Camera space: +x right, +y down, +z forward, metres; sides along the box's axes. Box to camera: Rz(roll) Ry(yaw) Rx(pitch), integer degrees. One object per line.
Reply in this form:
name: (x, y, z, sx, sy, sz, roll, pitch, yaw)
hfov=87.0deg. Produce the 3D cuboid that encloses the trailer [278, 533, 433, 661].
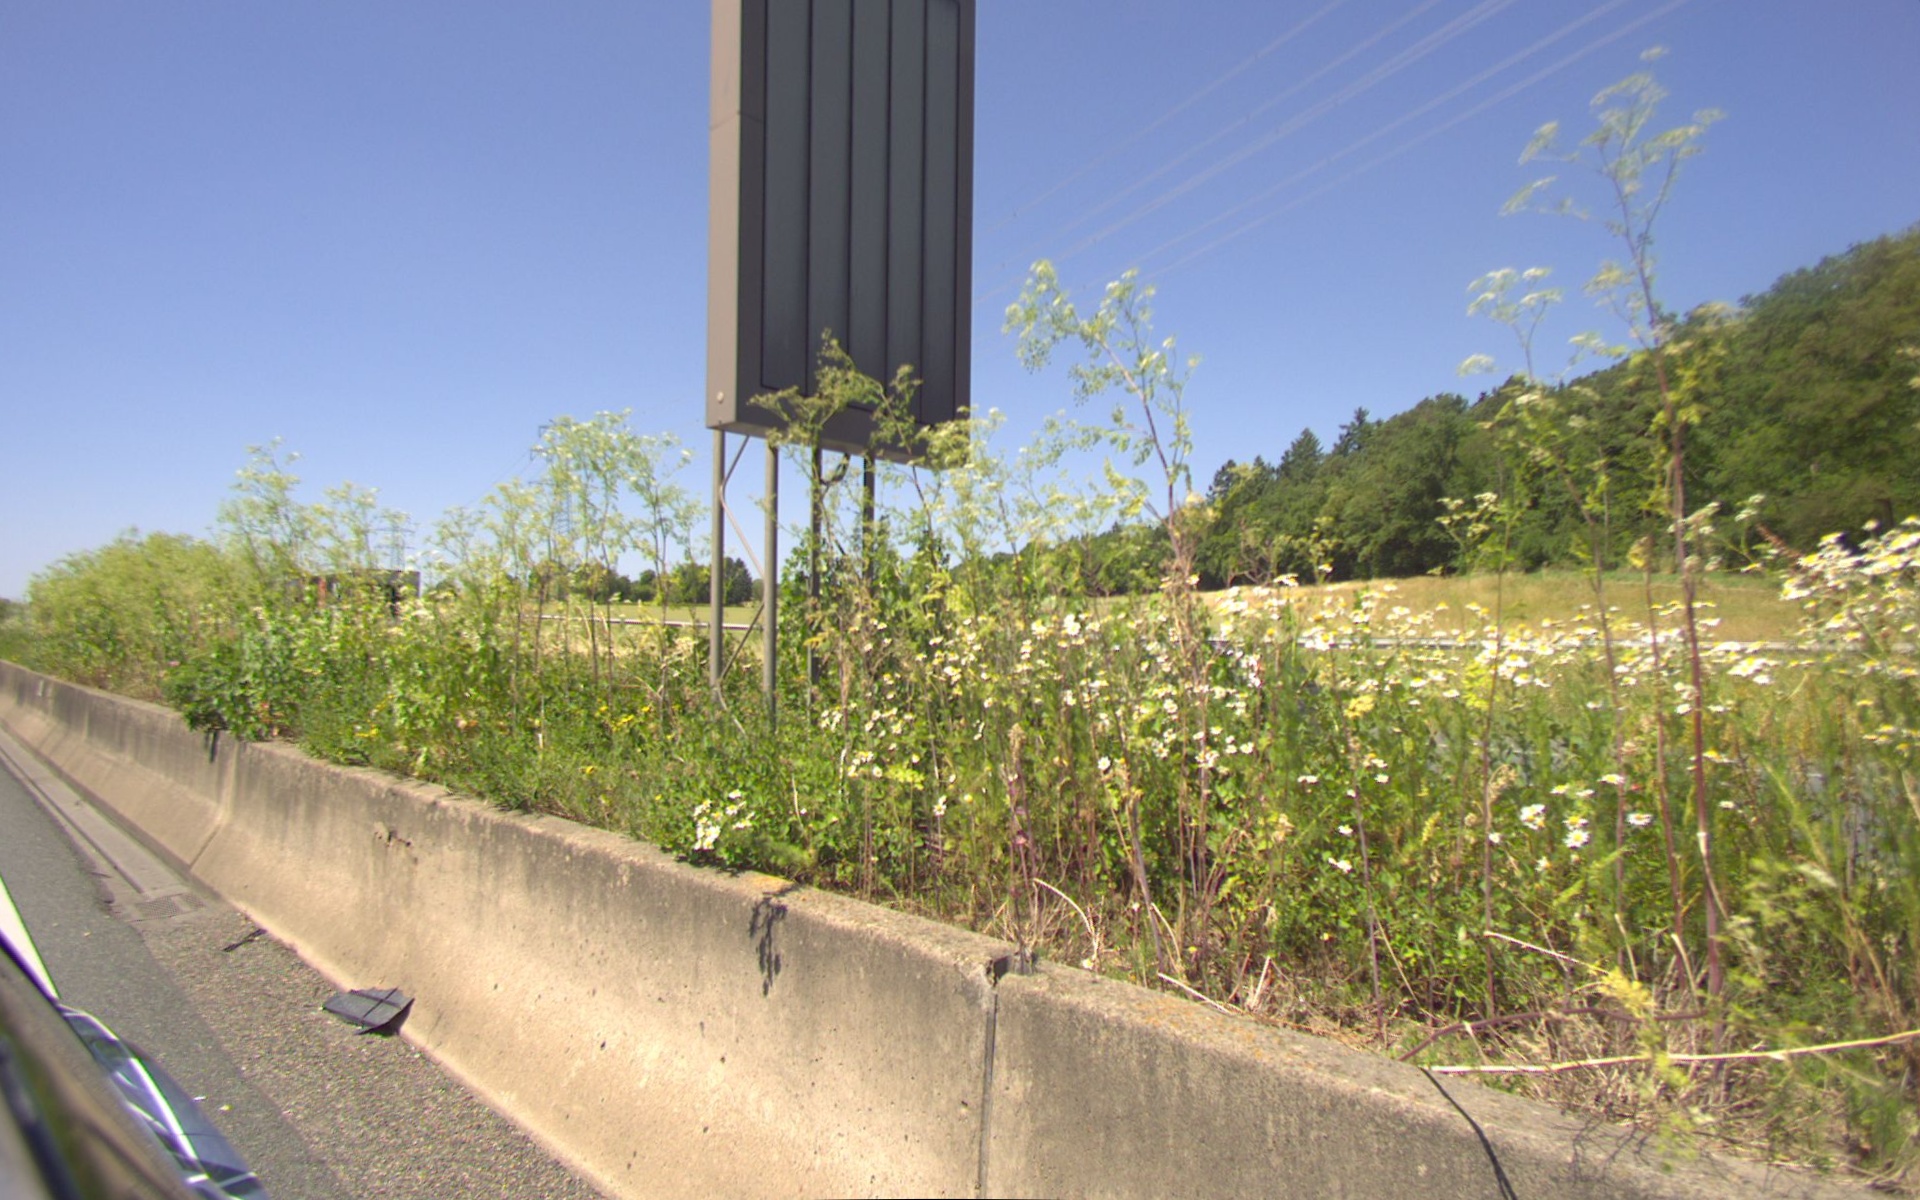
trailer: (-26.862, -0.055, 44.701, 9.590, 5.086, 3.286, -1, -1, 43)

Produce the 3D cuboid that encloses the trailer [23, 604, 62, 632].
trailer: (-128.790, 2.560, 142.049, 8.199, 3.790, 3.148, -1, -2, 42)

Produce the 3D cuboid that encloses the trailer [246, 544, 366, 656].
trailer: (-32.066, 0.038, 49.503, 6.703, 5.086, 3.287, -1, -1, 42)

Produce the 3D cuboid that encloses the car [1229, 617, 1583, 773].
car: (4.659, 0.886, 10.746, 3.125, 1.401, 1.566, -1, -1, 41)

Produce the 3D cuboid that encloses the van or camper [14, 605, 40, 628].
van or camper: (-117.886, 2.110, 127.865, 4.648, 2.882, 2.026, -1, -2, 42)
